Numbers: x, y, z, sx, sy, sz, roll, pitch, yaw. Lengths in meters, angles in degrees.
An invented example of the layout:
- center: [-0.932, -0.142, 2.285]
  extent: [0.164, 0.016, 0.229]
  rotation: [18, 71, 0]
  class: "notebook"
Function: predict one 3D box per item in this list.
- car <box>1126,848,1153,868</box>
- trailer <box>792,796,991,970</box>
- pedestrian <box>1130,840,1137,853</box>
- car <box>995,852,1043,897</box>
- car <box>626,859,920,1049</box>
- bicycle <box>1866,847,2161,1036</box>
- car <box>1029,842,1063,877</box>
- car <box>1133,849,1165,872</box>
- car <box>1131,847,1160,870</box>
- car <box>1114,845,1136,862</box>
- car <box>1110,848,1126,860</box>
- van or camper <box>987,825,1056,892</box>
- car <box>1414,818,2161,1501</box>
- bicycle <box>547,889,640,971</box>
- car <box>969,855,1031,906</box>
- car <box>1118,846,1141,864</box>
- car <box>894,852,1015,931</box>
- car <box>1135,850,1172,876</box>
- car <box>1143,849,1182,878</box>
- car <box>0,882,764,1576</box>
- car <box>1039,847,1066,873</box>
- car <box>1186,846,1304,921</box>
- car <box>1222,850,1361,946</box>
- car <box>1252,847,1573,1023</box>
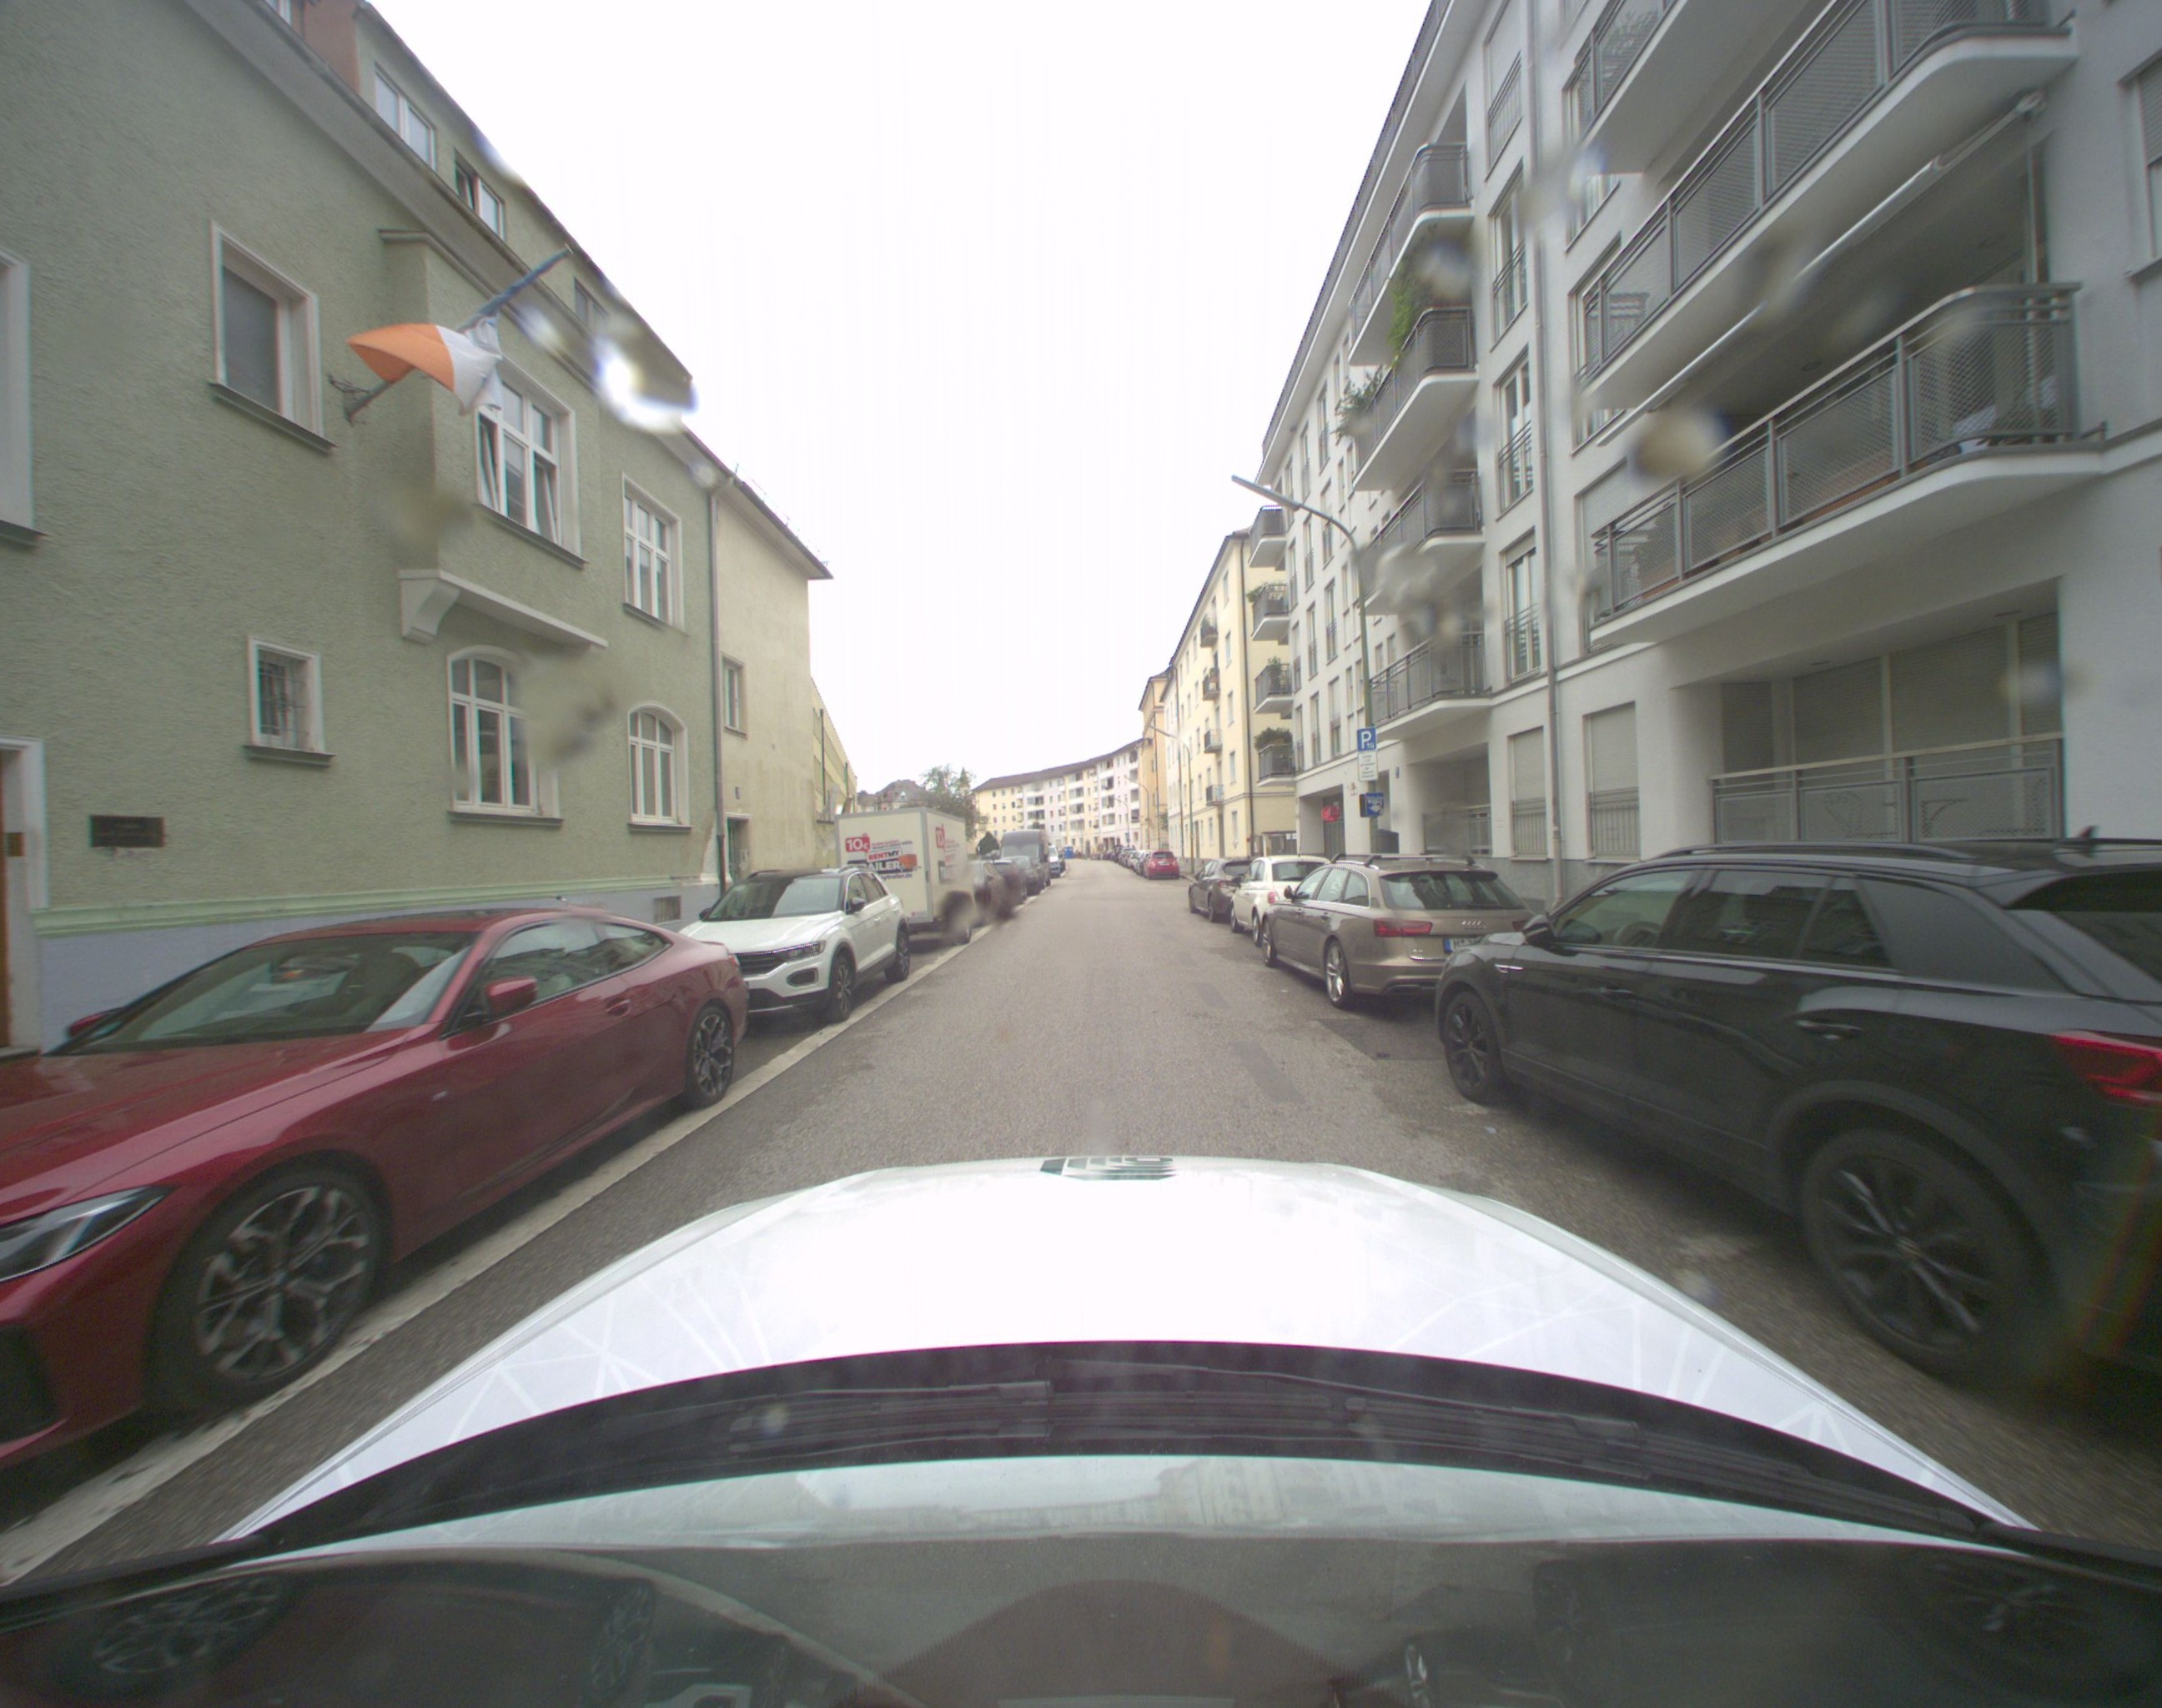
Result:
- center: [4.595, 0.269, 64.016]
  extent: [1.719, 1.450, 4.186]
  rotation: [-1, 1, -1]
  class: "car"
- center: [-3.124, 0.428, 14.563]
  extent: [1.967, 2.471, 4.582]
  rotation: [-5, 0, 4]
  class: "trailer"
- center: [6.708, -0.966, 104.012]
  extent: [0.615, 1.690, 0.919]
  rotation: [-5, 0, 0]
  class: "pedestrian"
- center: [-2.369, 0.744, 31.765]
  extent: [1.649, 1.497, 3.905]
  rotation: [-4, 0, -2]
  class: "car"
- center: [-3.148, 0.906, 9.312]
  extent: [1.673, 1.530, 4.107]
  rotation: [-3, 1, 1]
  class: "car"
- center: [6.796, 0.520, 5.826]
  extent: [0.567, 1.098, 1.811]
  rotation: [-5, 0, 2]
  class: "bicycle"
- center: [-2.149, 0.278, 49.764]
  extent: [1.910, 1.960, 4.957]
  rotation: [-2, 1, -3]
  class: "car"
- center: [4.422, 0.415, 53.764]
  extent: [1.719, 1.429, 4.293]
  rotation: [-1, 1, 0]
  class: "car"
- center: [4.641, 0.291, 58.692]
  extent: [1.646, 1.543, 3.991]
  rotation: [-1, 1, -2]
  class: "car"
- center: [4.744, -0.096, 89.084]
  extent: [2.162, 1.739, 5.024]
  rotation: [-1, 1, 0]
  class: "car"
- center: [4.481, -0.048, 99.293]
  extent: [1.627, 1.417, 3.676]
  rotation: [-1, 1, -3]
  class: "car"
- center: [-2.567, 0.164, 36.799]
  extent: [2.284, 2.650, 5.564]
  rotation: [-4, 0, 2]
  class: "van or camper"
- center: [3.292, 0.664, 3.723]
  extent: [1.832, 1.533, 4.019]
  rotation: [-1, 0, -1]
  class: "car"
- center: [-7.243, 1.093, 12.170]
  extent: [0.458, 1.085, 1.523]
  rotation: [0, 0, 0]
  class: "bicycle"
- center: [-2.616, 0.818, 27.166]
  extent: [1.671, 1.436, 4.284]
  rotation: [-4, 0, -2]
  class: "car"
- center: [4.660, 0.038, 78.820]
  extent: [1.841, 1.663, 4.496]
  rotation: [-1, 1, -1]
  class: "car"
- center: [-2.952, 0.815, 20.263]
  extent: [1.856, 1.541, 5.096]
  rotation: [-4, 1, 3]
  class: "car"
- center: [4.248, 0.490, 48.191]
  extent: [1.767, 1.429, 4.614]
  rotation: [-1, 1, 0]
  class: "car"
- center: [4.261, 0.488, 43.212]
  extent: [1.650, 1.429, 3.755]
  rotation: [-1, 1, 0]
  class: "car"
- center: [-3.316, 0.969, 3.905]
  extent: [1.740, 1.368, 4.403]
  rotation: [-3, 1, 1]
  class: "car"
- center: [-2.095, 0.418, 60.087]
  extent: [1.709, 1.689, 4.141]
  rotation: [-3, 1, 0]
  class: "car"
- center: [3.659, 0.585, 18.881]
  extent: [1.766, 1.475, 4.215]
  rotation: [-2, 1, -1]
  class: "car"
- center: [3.656, 0.685, 14.760]
  extent: [1.611, 1.467, 3.748]
  rotation: [-1, 1, 1]
  class: "car"
- center: [3.339, 0.685, 9.310]
  extent: [1.785, 1.482, 4.602]
  rotation: [-1, 0, 0]
  class: "car"
